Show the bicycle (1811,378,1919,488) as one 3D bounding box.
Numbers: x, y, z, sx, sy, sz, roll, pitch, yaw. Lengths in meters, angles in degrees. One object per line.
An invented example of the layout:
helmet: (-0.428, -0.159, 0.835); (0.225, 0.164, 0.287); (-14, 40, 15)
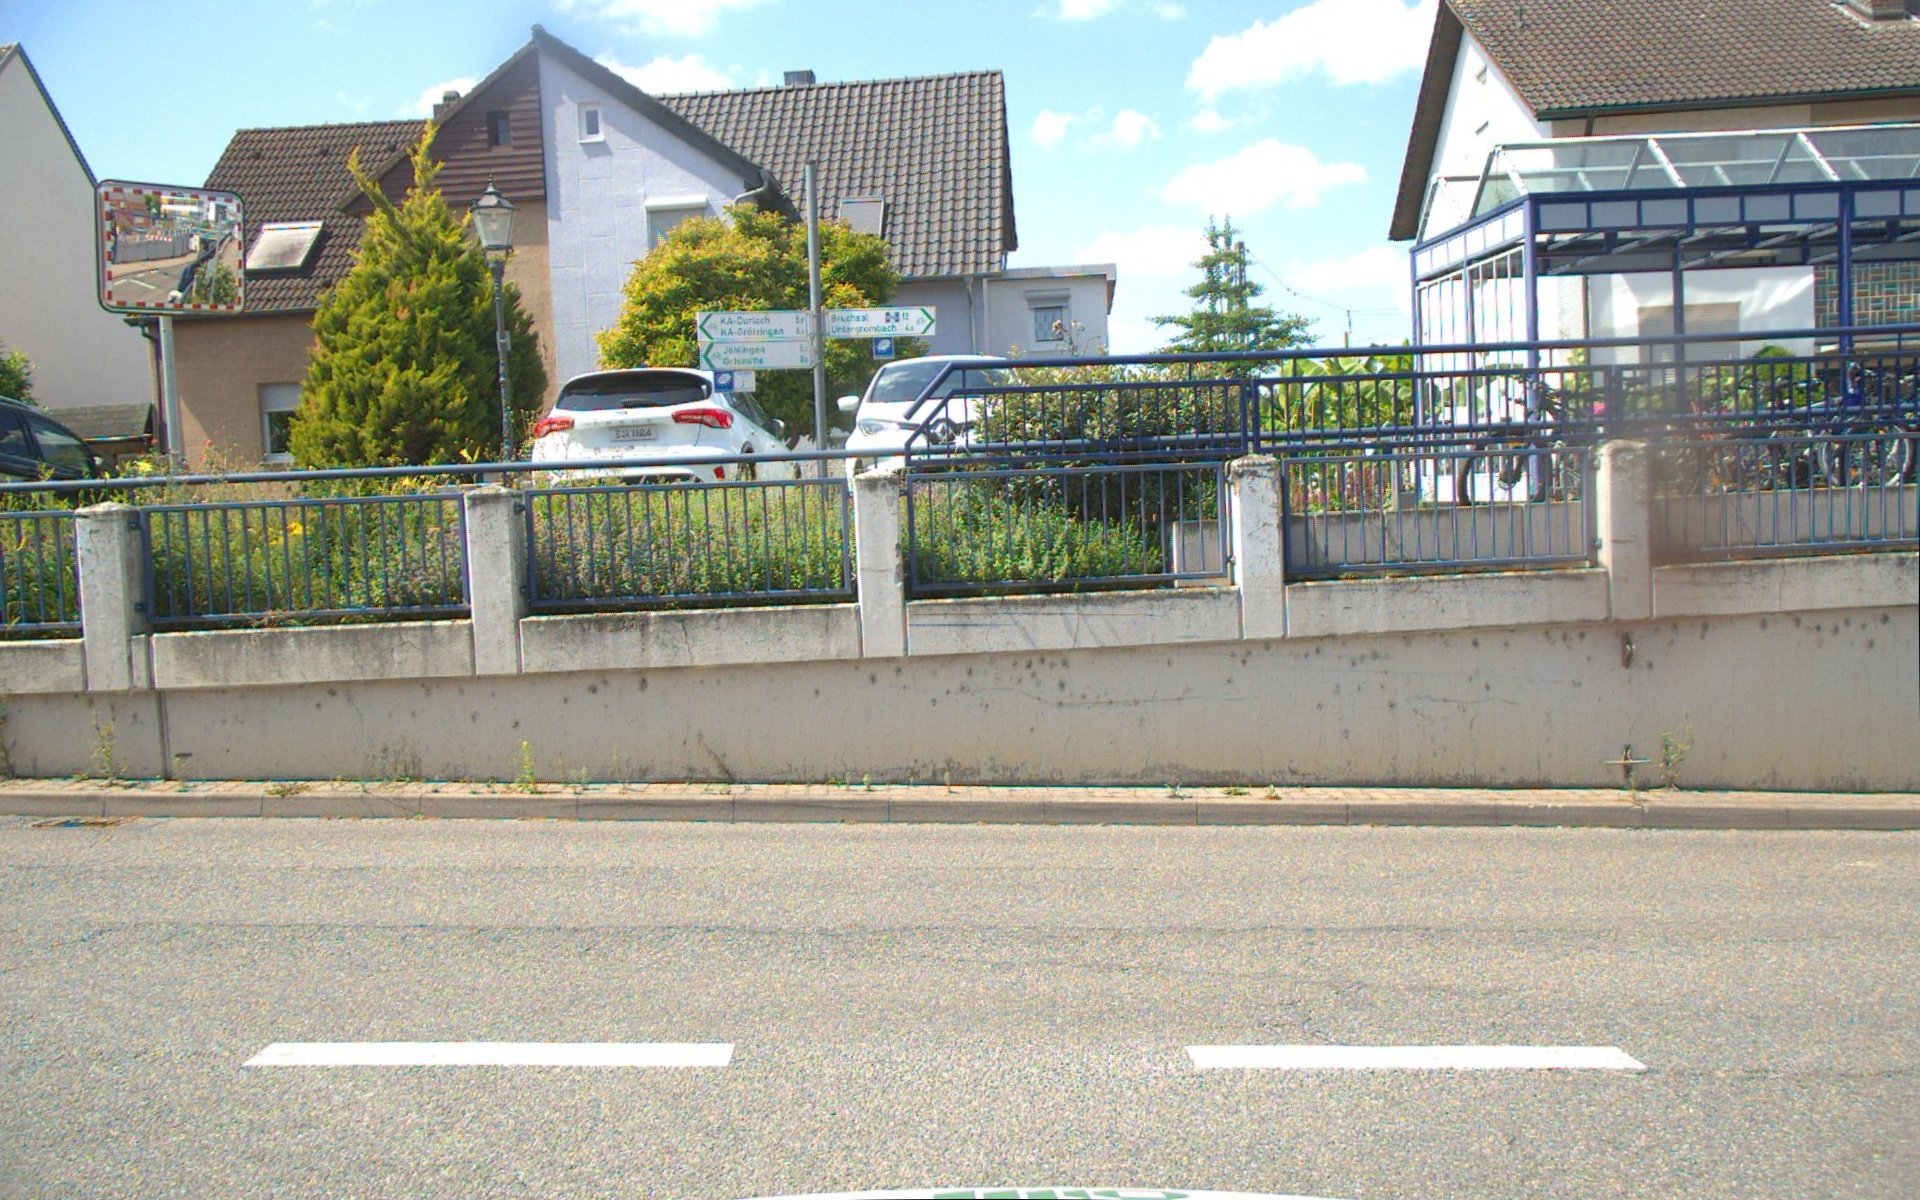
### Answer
bicycle: (9.276, -1.644, 16.503); (0.464, 1.012, 1.965); (-2, 3, -3)

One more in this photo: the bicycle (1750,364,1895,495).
bicycle: (7.329, -1.413, 14.147); (0.426, 1.012, 2.105); (-1, 3, 8)

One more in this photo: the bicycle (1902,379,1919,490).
bicycle: (8.986, -1.488, 14.426); (0.426, 1.012, 2.283); (-2, 3, 5)

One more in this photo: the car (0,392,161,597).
car: (-9.451, -0.977, 15.510); (1.828, 1.828, 4.002); (1, 1, 2)

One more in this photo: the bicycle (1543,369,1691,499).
bicycle: (5.657, -1.397, 14.354); (0.325, 1.012, 2.075); (-2, 3, -4)

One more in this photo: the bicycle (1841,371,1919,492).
bicycle: (8.414, -1.468, 14.429); (0.426, 1.012, 2.283); (-2, 3, 5)

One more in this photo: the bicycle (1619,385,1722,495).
bicycle: (7.101, -1.570, 16.594); (0.365, 1.012, 1.968); (-2, 3, 6)

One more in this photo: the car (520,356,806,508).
car: (-2.514, -1.429, 14.812); (1.787, 1.037, 3.461); (1, 1, 2)

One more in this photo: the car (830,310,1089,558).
car: (0.081, -1.328, 14.742); (1.952, 1.828, 4.198); (1, 1, 2)

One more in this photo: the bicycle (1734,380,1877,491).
bicycle: (8.443, -1.619, 16.600); (0.417, 1.012, 1.966); (-2, 3, 0)

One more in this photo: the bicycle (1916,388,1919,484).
bicycle: (10.444, -1.691, 16.577); (0.508, 1.012, 1.965); (-2, 3, -3)

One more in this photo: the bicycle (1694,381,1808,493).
bicycle: (7.820, -1.587, 16.424); (0.365, 1.012, 1.968); (-2, 3, 6)

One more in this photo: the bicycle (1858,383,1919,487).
bicycle: (9.744, -1.662, 16.513); (0.405, 1.012, 1.965); (-2, 3, -3)

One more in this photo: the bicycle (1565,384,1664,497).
bicycle: (6.370, -1.520, 16.169); (0.365, 1.012, 1.968); (-2, 3, 6)

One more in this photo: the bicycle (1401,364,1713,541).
bicycle: (4.147, -1.023, 11.508); (2.073, 1.145, 0.333); (-2, 3, -4)

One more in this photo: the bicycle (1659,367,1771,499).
bicycle: (6.329, -1.366, 13.939); (0.426, 1.012, 2.105); (-1, 3, 13)

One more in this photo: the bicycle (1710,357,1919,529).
bicycle: (6.402, -1.114, 11.677); (2.073, 1.145, 0.392); (-2, 3, -4)

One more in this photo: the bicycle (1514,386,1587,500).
bicycle: (5.695, -1.487, 16.004); (0.445, 1.012, 1.890); (-1, 3, 13)
